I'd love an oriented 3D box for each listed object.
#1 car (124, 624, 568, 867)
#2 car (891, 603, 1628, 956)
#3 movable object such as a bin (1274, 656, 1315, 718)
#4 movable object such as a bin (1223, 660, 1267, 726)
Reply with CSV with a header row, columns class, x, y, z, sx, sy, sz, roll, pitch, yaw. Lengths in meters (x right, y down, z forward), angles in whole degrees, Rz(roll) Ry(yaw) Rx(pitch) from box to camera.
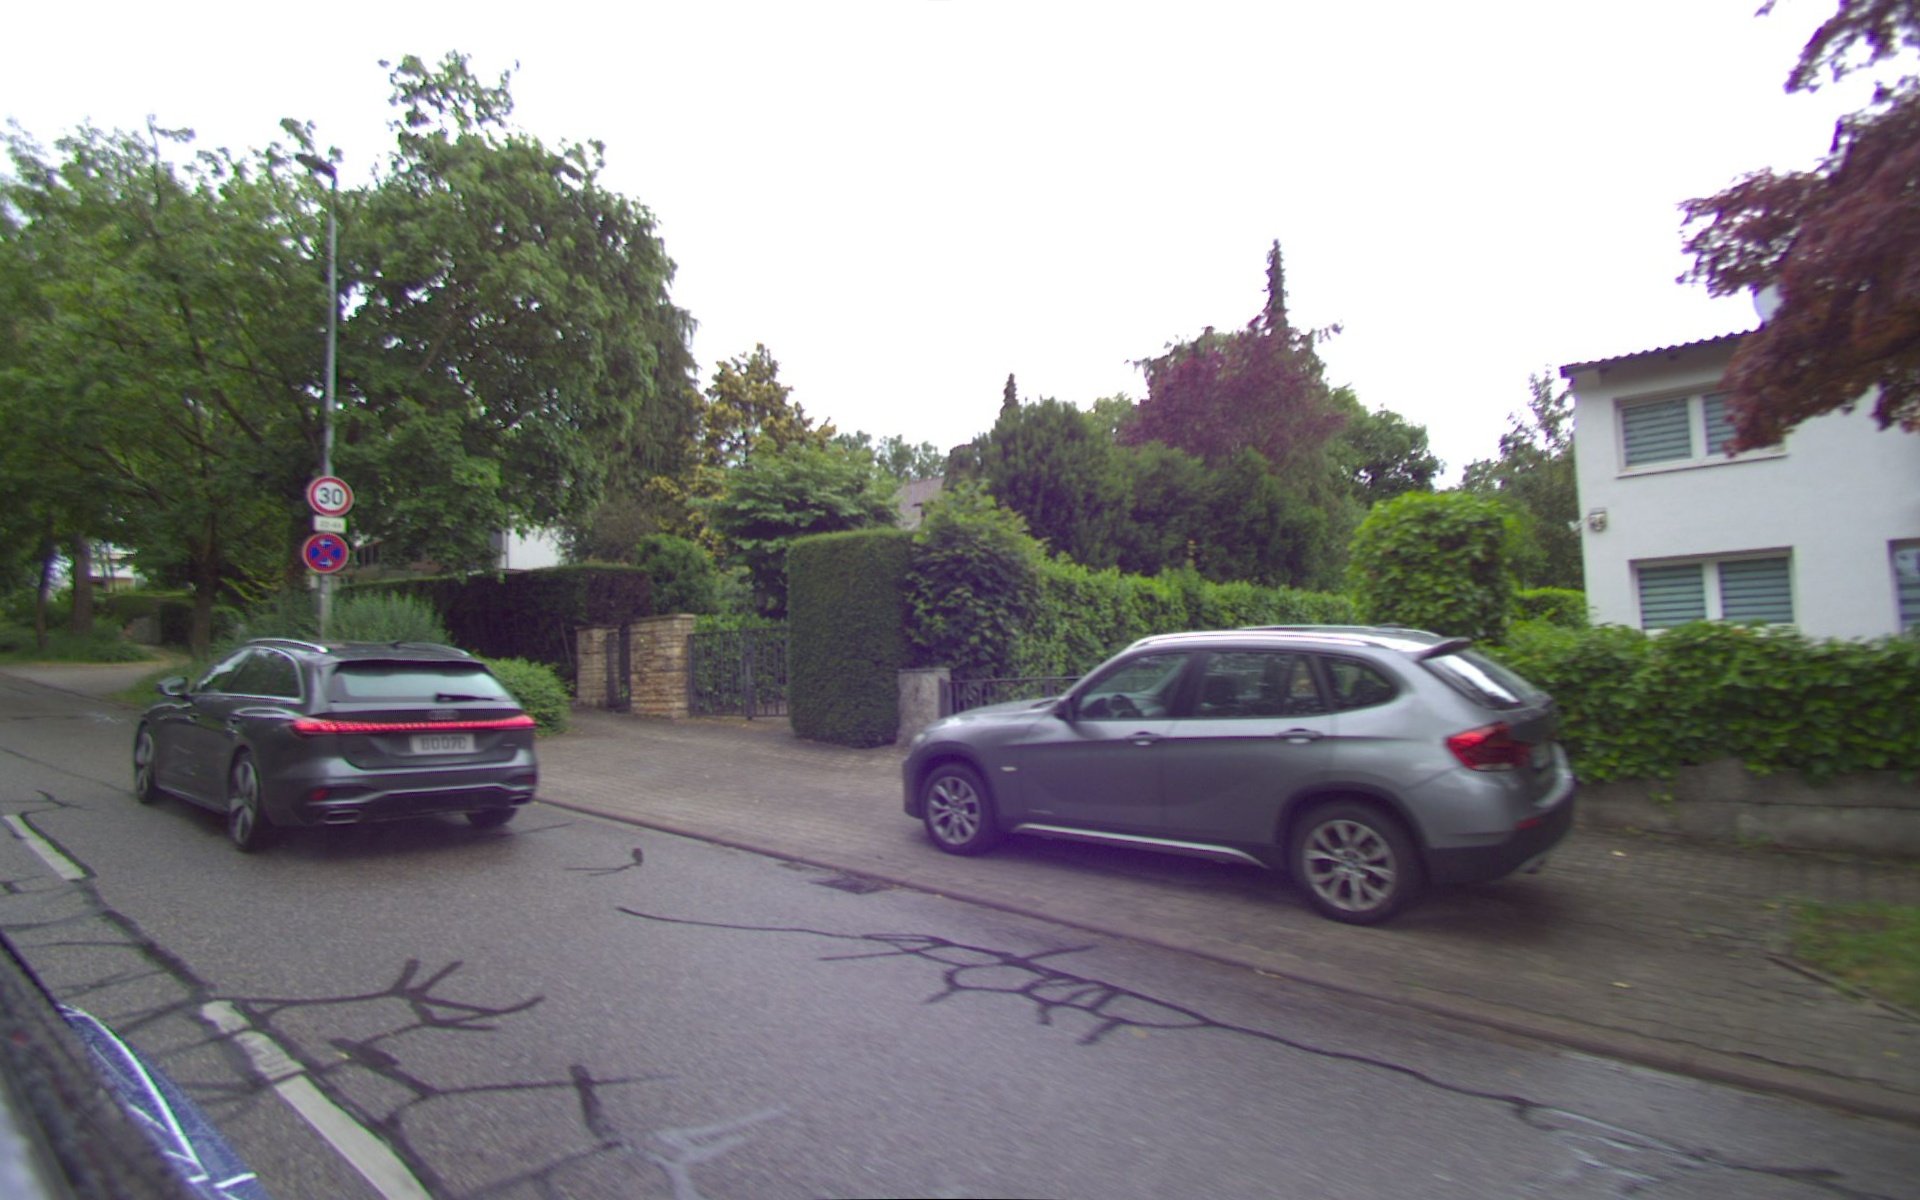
class,x,y,z,sx,sy,sz,roll,pitch,yaw
car,-5.077,0.947,8.078,4.488,1.407,1.672,-1,-5,41
car,1.686,0.871,6.594,4.280,1.554,1.647,-2,0,40
movable object such as a bin,5.910,1.519,17.860,0.484,1.033,0.622,-1,-2,40
movable object such as a bin,4.746,1.532,16.822,0.484,1.033,0.622,-1,-2,40
